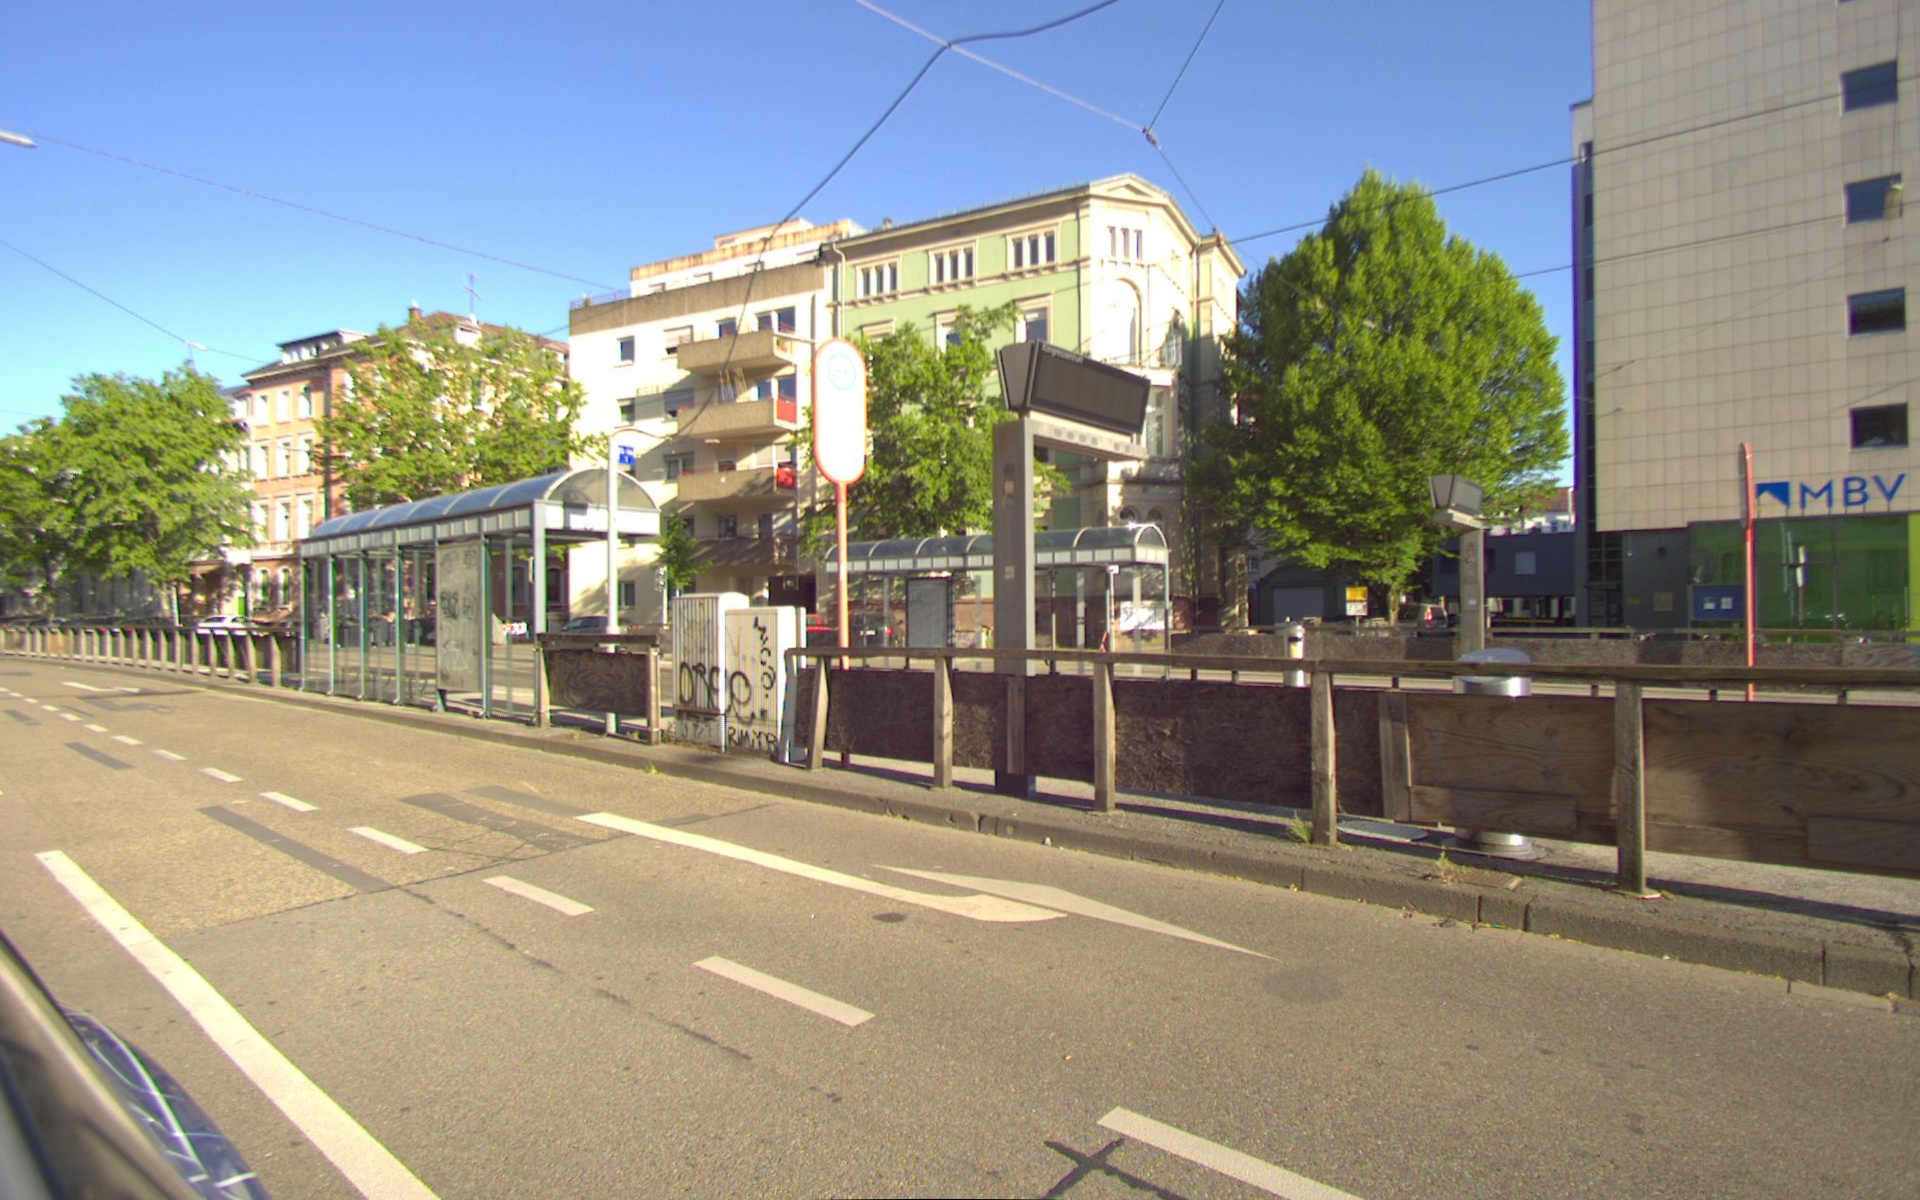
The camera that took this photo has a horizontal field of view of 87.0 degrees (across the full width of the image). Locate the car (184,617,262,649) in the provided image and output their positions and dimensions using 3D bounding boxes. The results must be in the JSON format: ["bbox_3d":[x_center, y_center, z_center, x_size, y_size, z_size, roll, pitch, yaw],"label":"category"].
[{"bbox_3d":[-39.397,1.739,54.200,1.607,1.579,3.601,-1,0,-2],"label":"car"}]

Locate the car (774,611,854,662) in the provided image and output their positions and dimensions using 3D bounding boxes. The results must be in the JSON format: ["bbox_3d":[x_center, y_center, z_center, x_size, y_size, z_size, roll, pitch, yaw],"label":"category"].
[{"bbox_3d":[-4.919,1.214,34.555,1.614,1.579,3.588,-1,0,11],"label":"car"}]

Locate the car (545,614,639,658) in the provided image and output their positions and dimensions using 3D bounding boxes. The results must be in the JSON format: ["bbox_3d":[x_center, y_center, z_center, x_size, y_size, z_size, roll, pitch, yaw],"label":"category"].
[{"bbox_3d":[-14.031,1.333,38.507,3.592,1.579,1.612,-1,0,35],"label":"car"}]

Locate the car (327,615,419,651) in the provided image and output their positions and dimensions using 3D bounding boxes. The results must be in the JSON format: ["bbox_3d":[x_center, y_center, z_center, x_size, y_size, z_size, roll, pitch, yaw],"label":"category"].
[{"bbox_3d":[-28.397,1.559,49.043,1.626,1.579,3.560,-1,0,33],"label":"car"}]

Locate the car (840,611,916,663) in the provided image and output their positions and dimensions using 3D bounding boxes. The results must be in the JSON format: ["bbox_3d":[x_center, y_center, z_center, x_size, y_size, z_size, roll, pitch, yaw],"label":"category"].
[{"bbox_3d":[-2.646,1.185,33.359,1.614,1.579,3.588,-1,0,11],"label":"car"}]
